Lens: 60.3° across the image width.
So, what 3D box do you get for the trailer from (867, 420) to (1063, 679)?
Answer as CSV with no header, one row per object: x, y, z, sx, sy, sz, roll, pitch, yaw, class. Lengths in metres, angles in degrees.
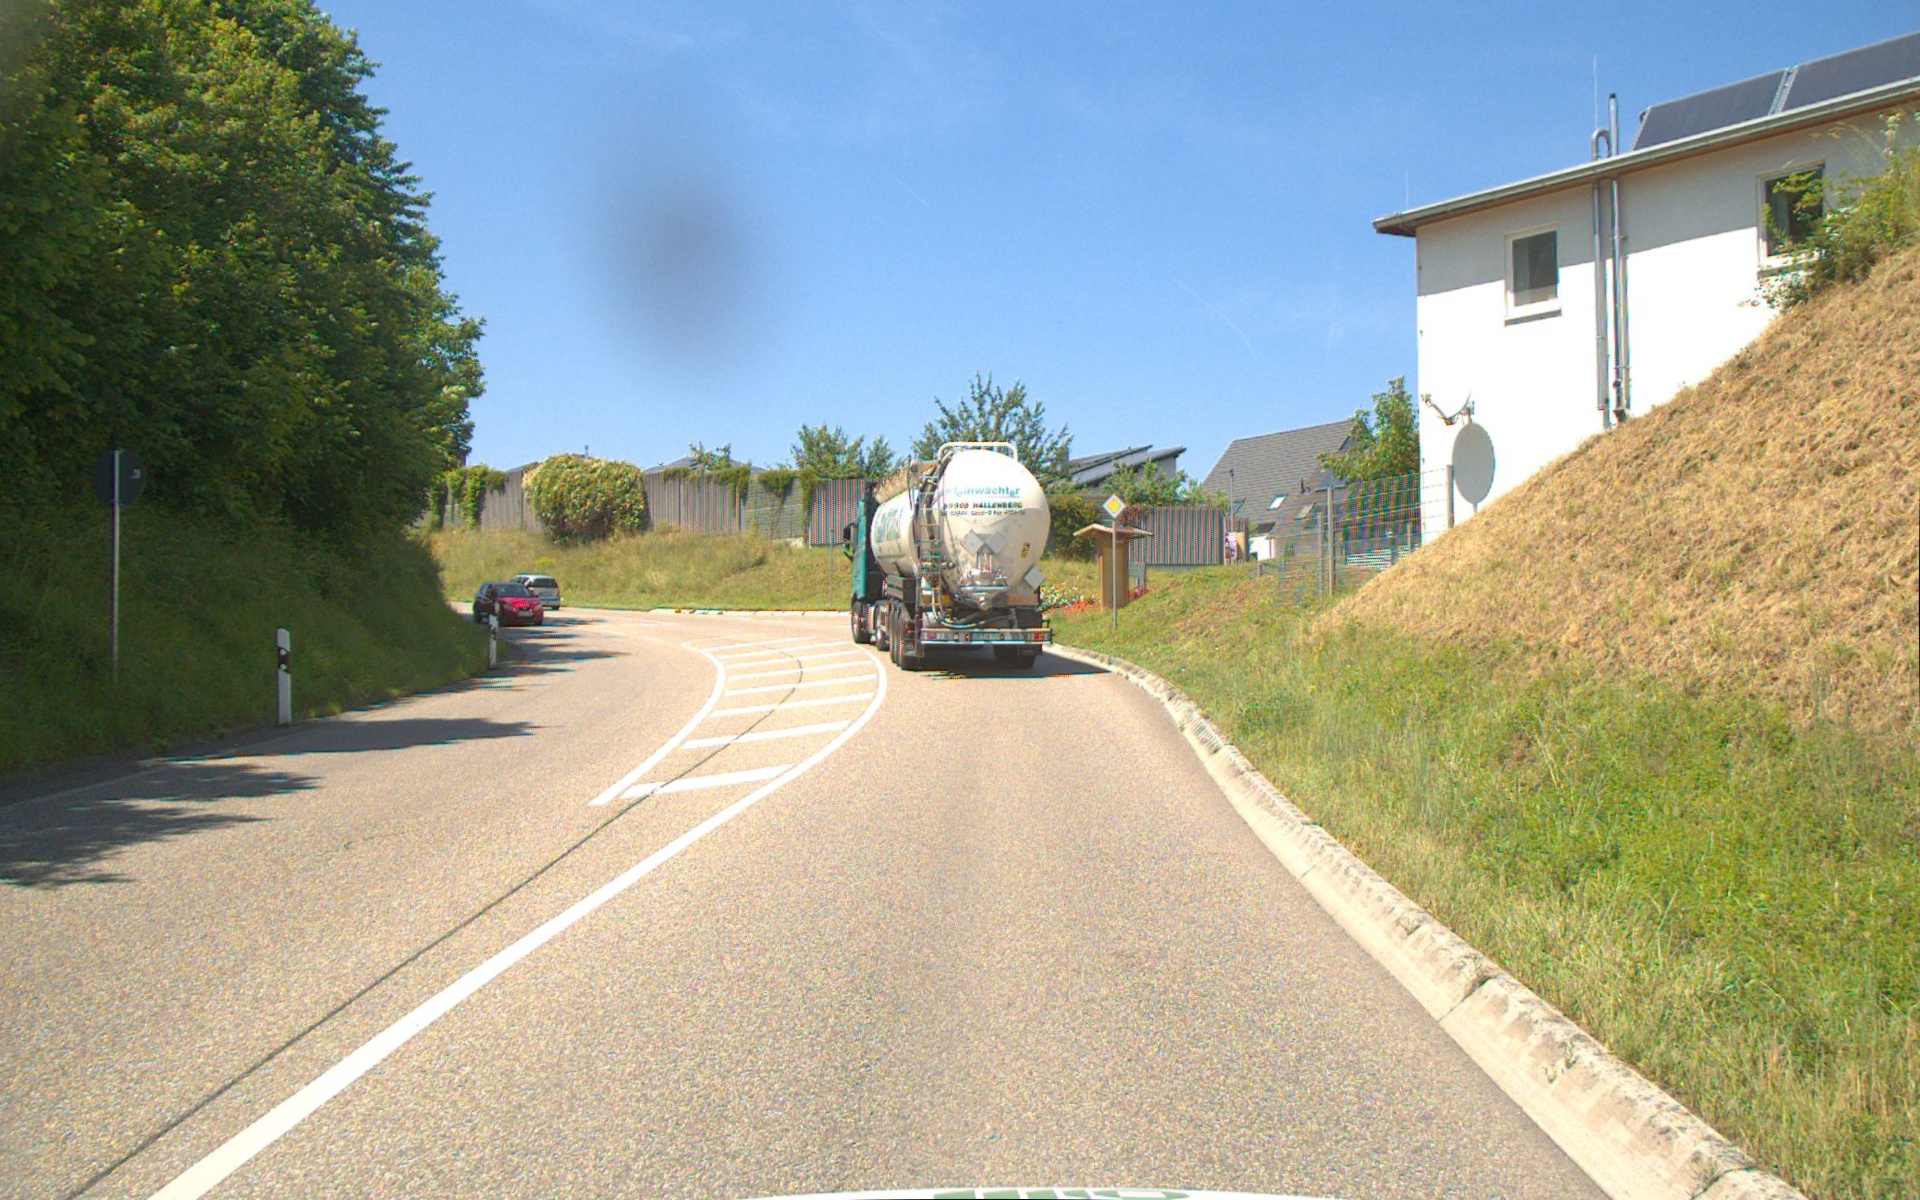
-0.244,-0.919,33.461,2.610,4.261,11.888,-1,1,-6,trailer

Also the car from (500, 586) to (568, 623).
-19.127,0.200,74.123,1.636,1.536,3.590,4,-2,-37,car

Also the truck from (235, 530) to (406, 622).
-34.812,-1.361,89.673,11.580,4.384,3.184,3,-1,39,truck

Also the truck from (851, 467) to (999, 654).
-0.997,-0.857,39.666,2.676,3.998,7.251,-2,0,-7,truck

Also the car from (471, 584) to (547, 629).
-15.818,0.202,57.913,1.730,1.473,3.963,-1,1,-28,car
